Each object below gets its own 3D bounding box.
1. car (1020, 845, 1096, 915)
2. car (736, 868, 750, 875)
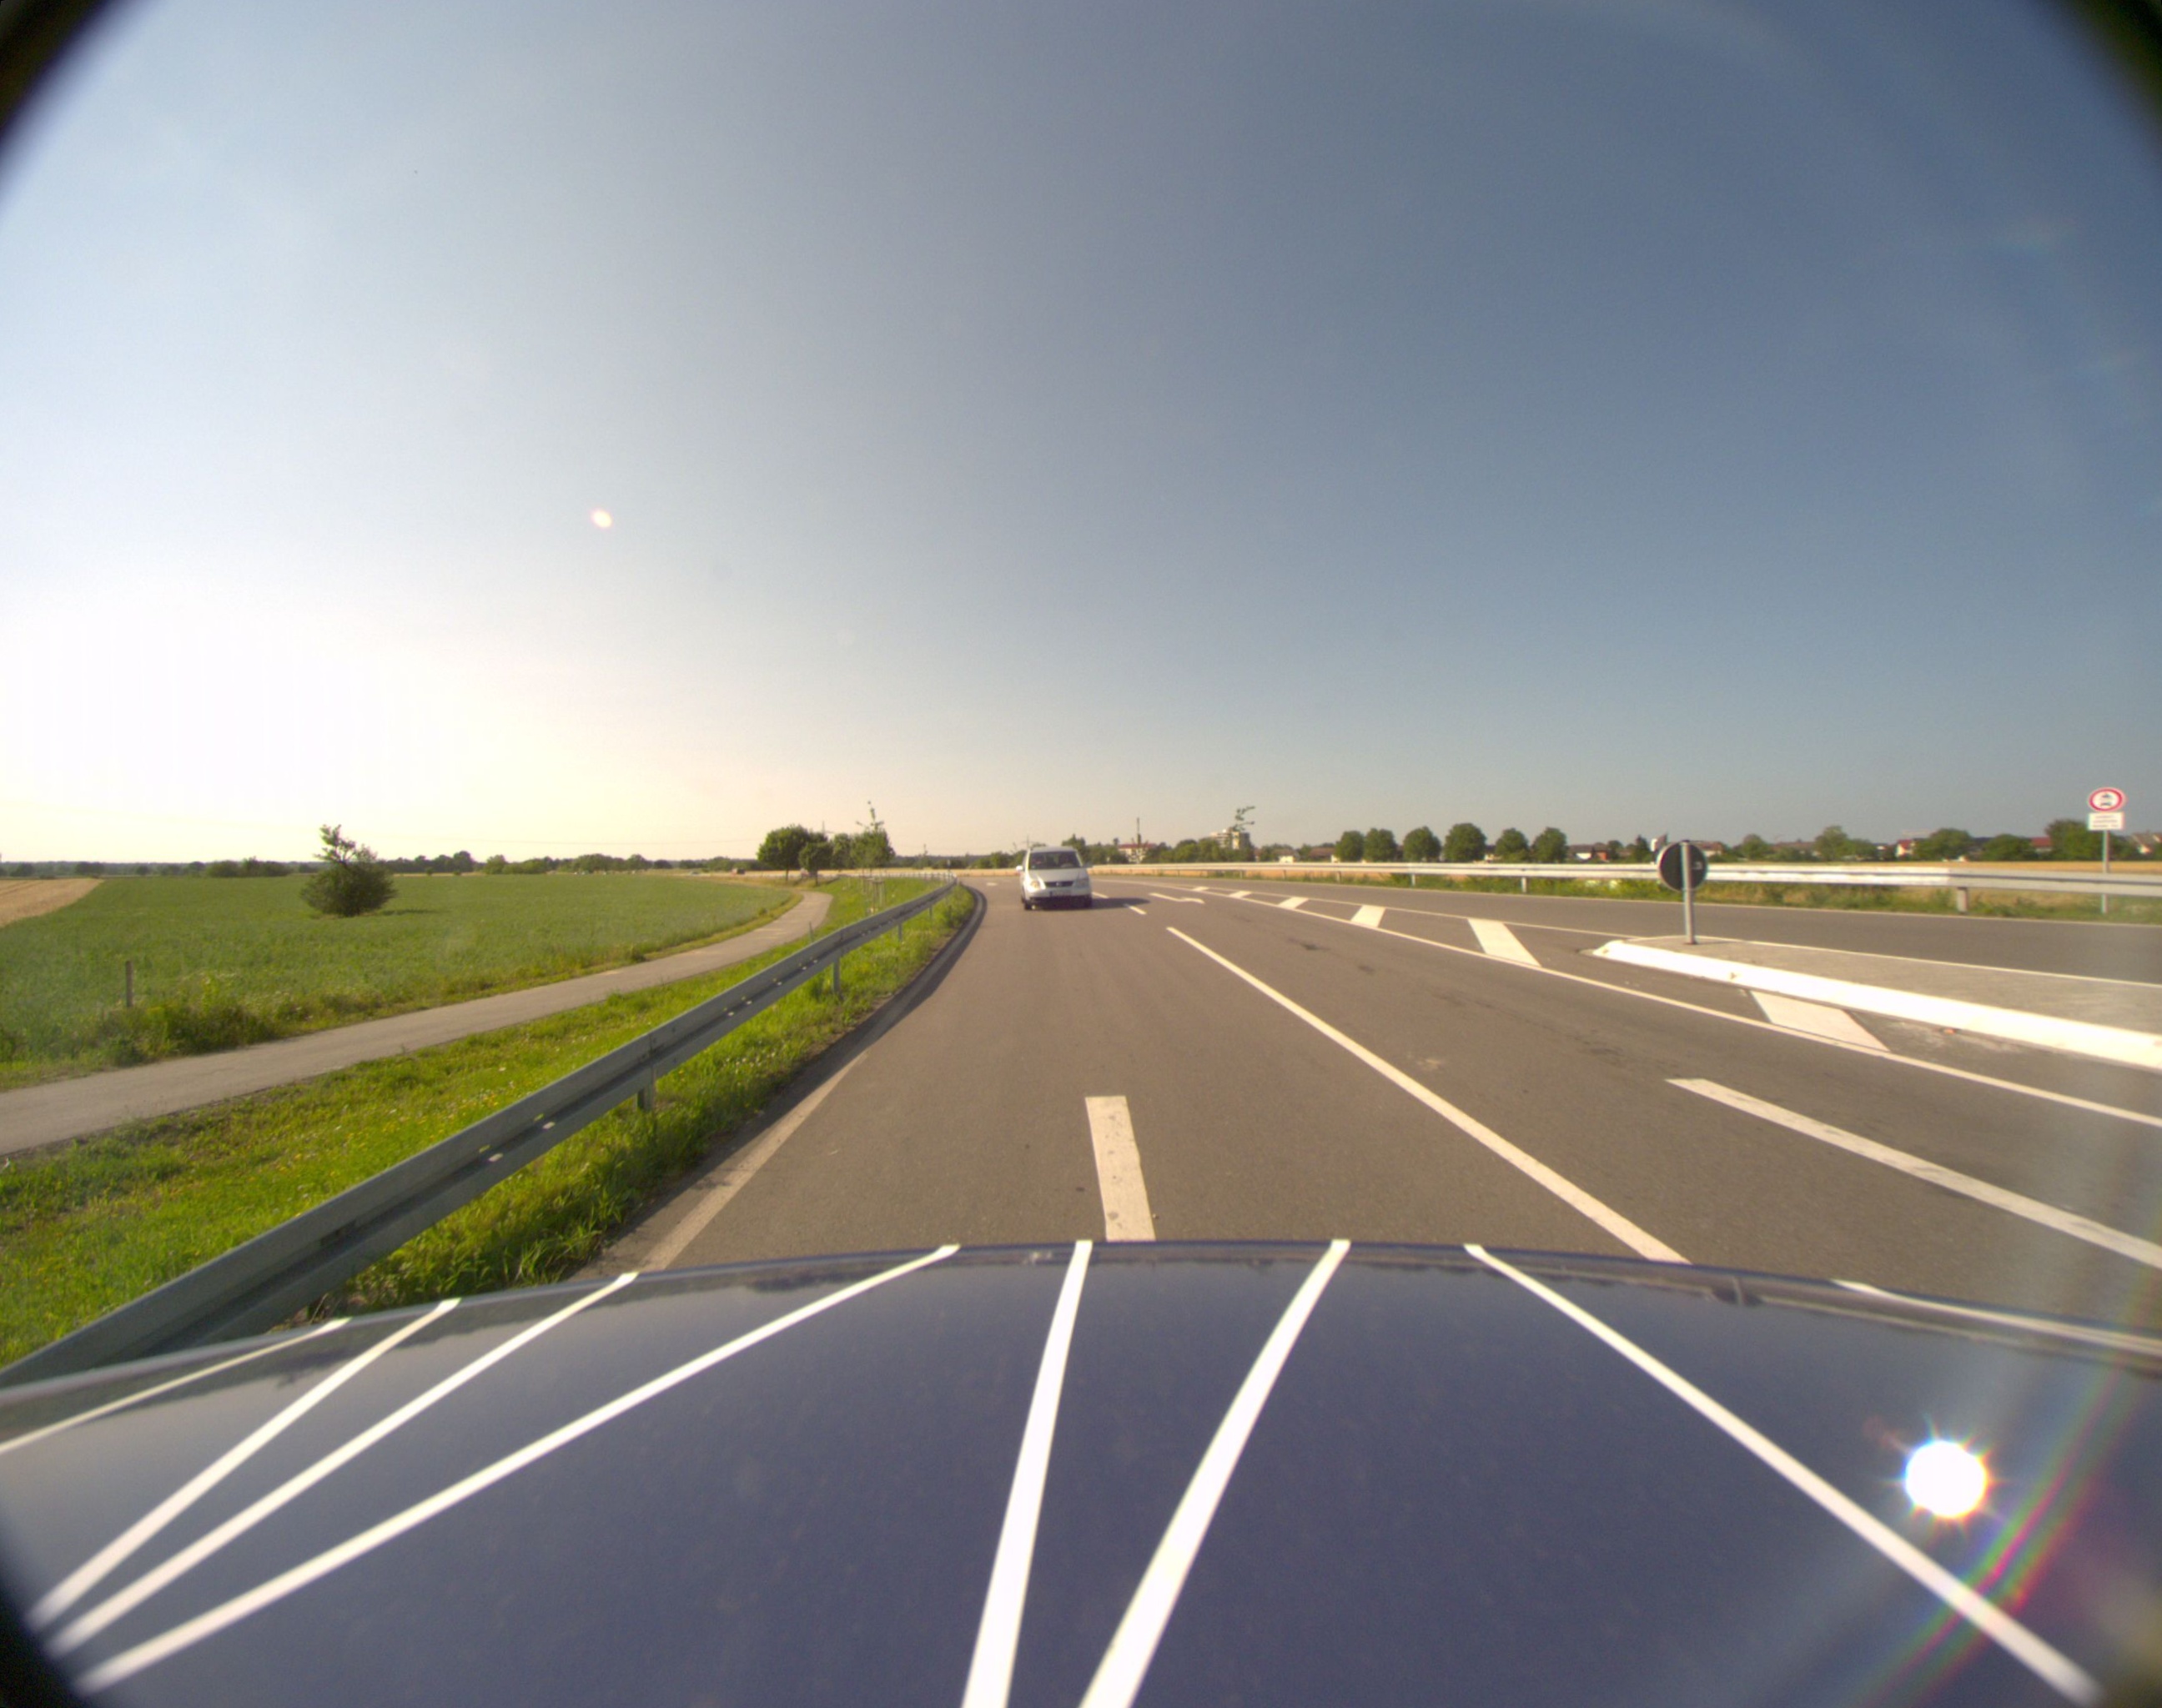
[{"bbox_3d":[-0.721,0.628,20.918,1.756,1.685,4.212,-2,1,-5],"label":"car"},{"bbox_3d":[-76.848,3.963,172.810,1.818,1.663,3.989,-3,1,-41],"label":"car"}]
